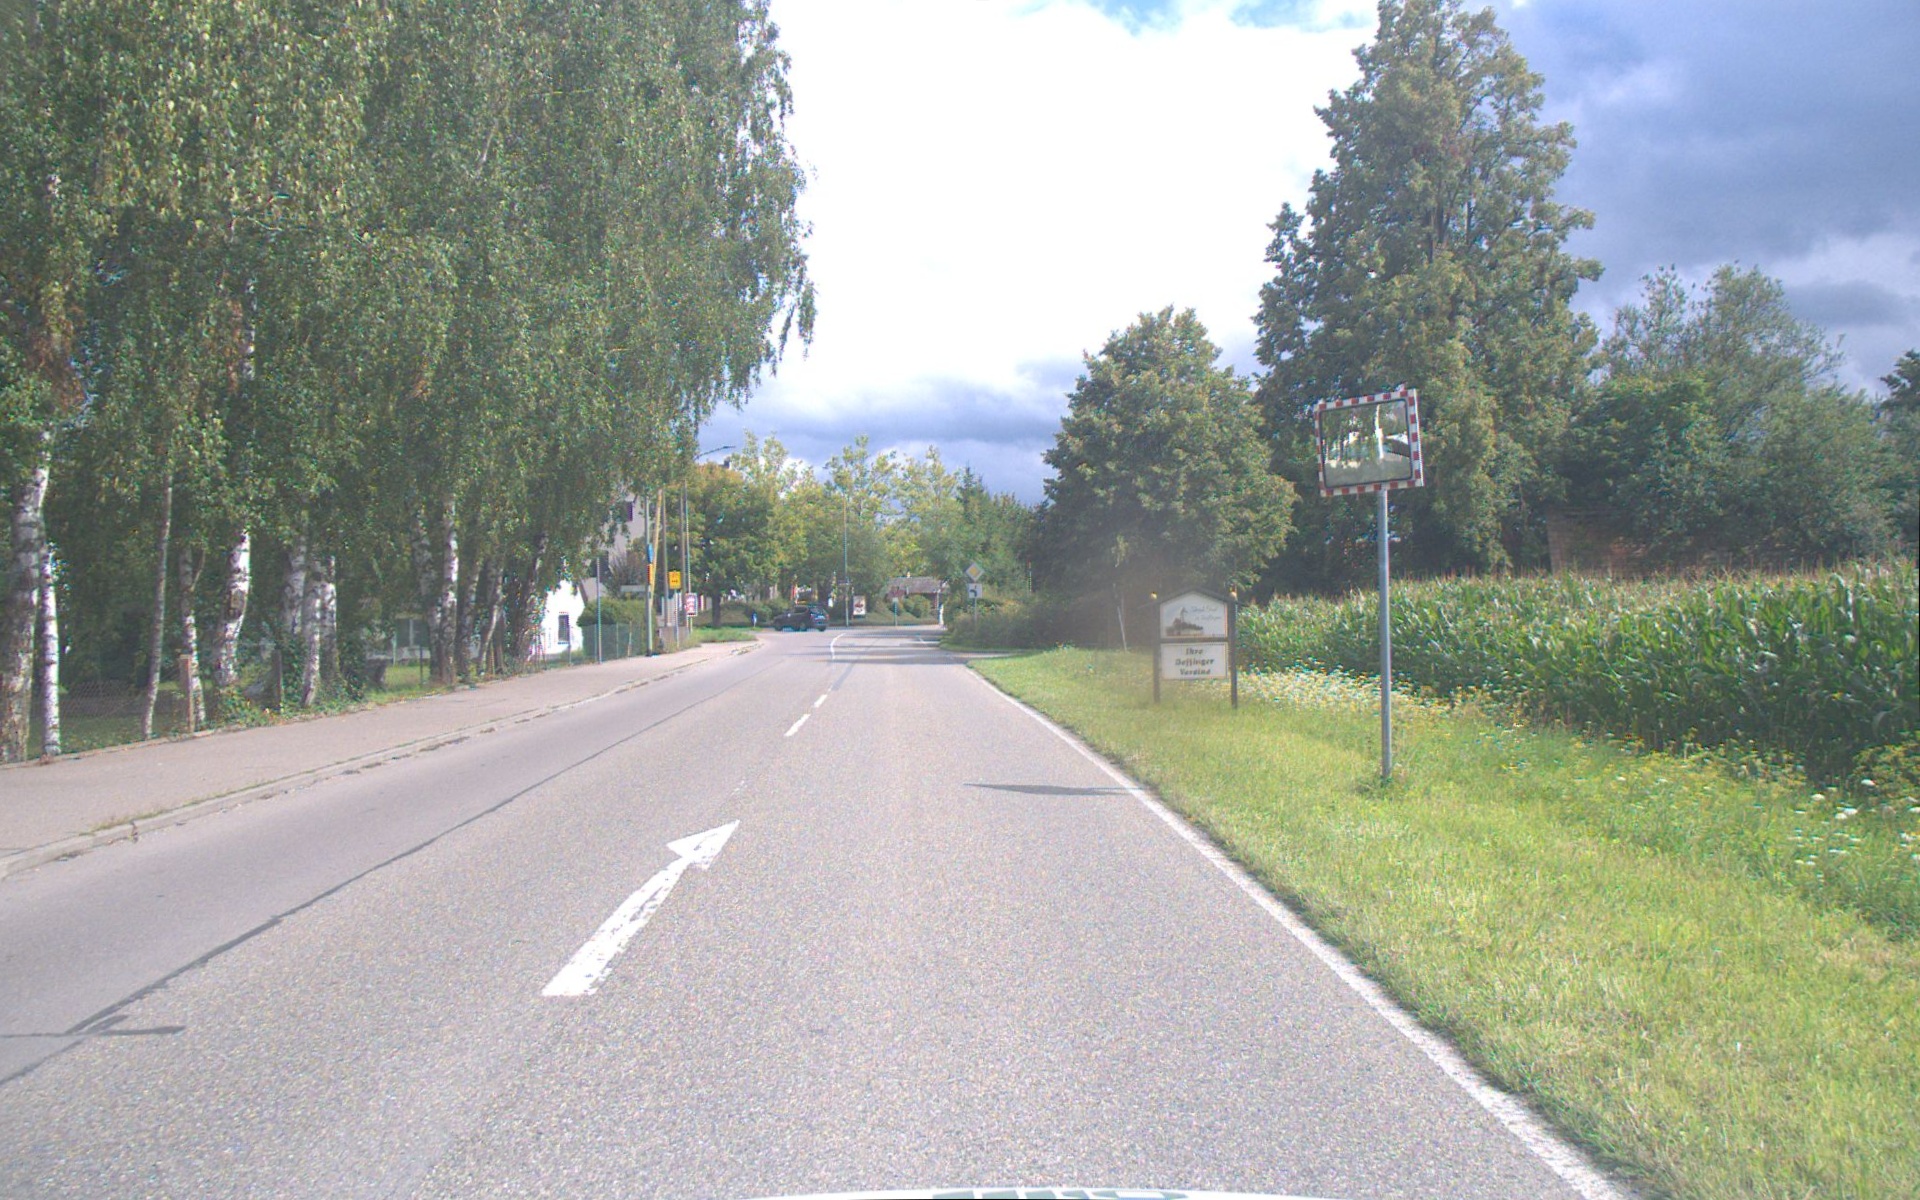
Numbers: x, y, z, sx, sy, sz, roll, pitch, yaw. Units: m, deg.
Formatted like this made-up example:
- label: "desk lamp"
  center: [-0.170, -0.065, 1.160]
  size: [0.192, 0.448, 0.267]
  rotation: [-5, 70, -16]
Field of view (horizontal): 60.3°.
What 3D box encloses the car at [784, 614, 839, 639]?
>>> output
- label: "car"
  center: [-10.056, 1.765, 111.871]
  size: [1.979, 1.612, 3.946]
  rotation: [-1, 0, -37]
